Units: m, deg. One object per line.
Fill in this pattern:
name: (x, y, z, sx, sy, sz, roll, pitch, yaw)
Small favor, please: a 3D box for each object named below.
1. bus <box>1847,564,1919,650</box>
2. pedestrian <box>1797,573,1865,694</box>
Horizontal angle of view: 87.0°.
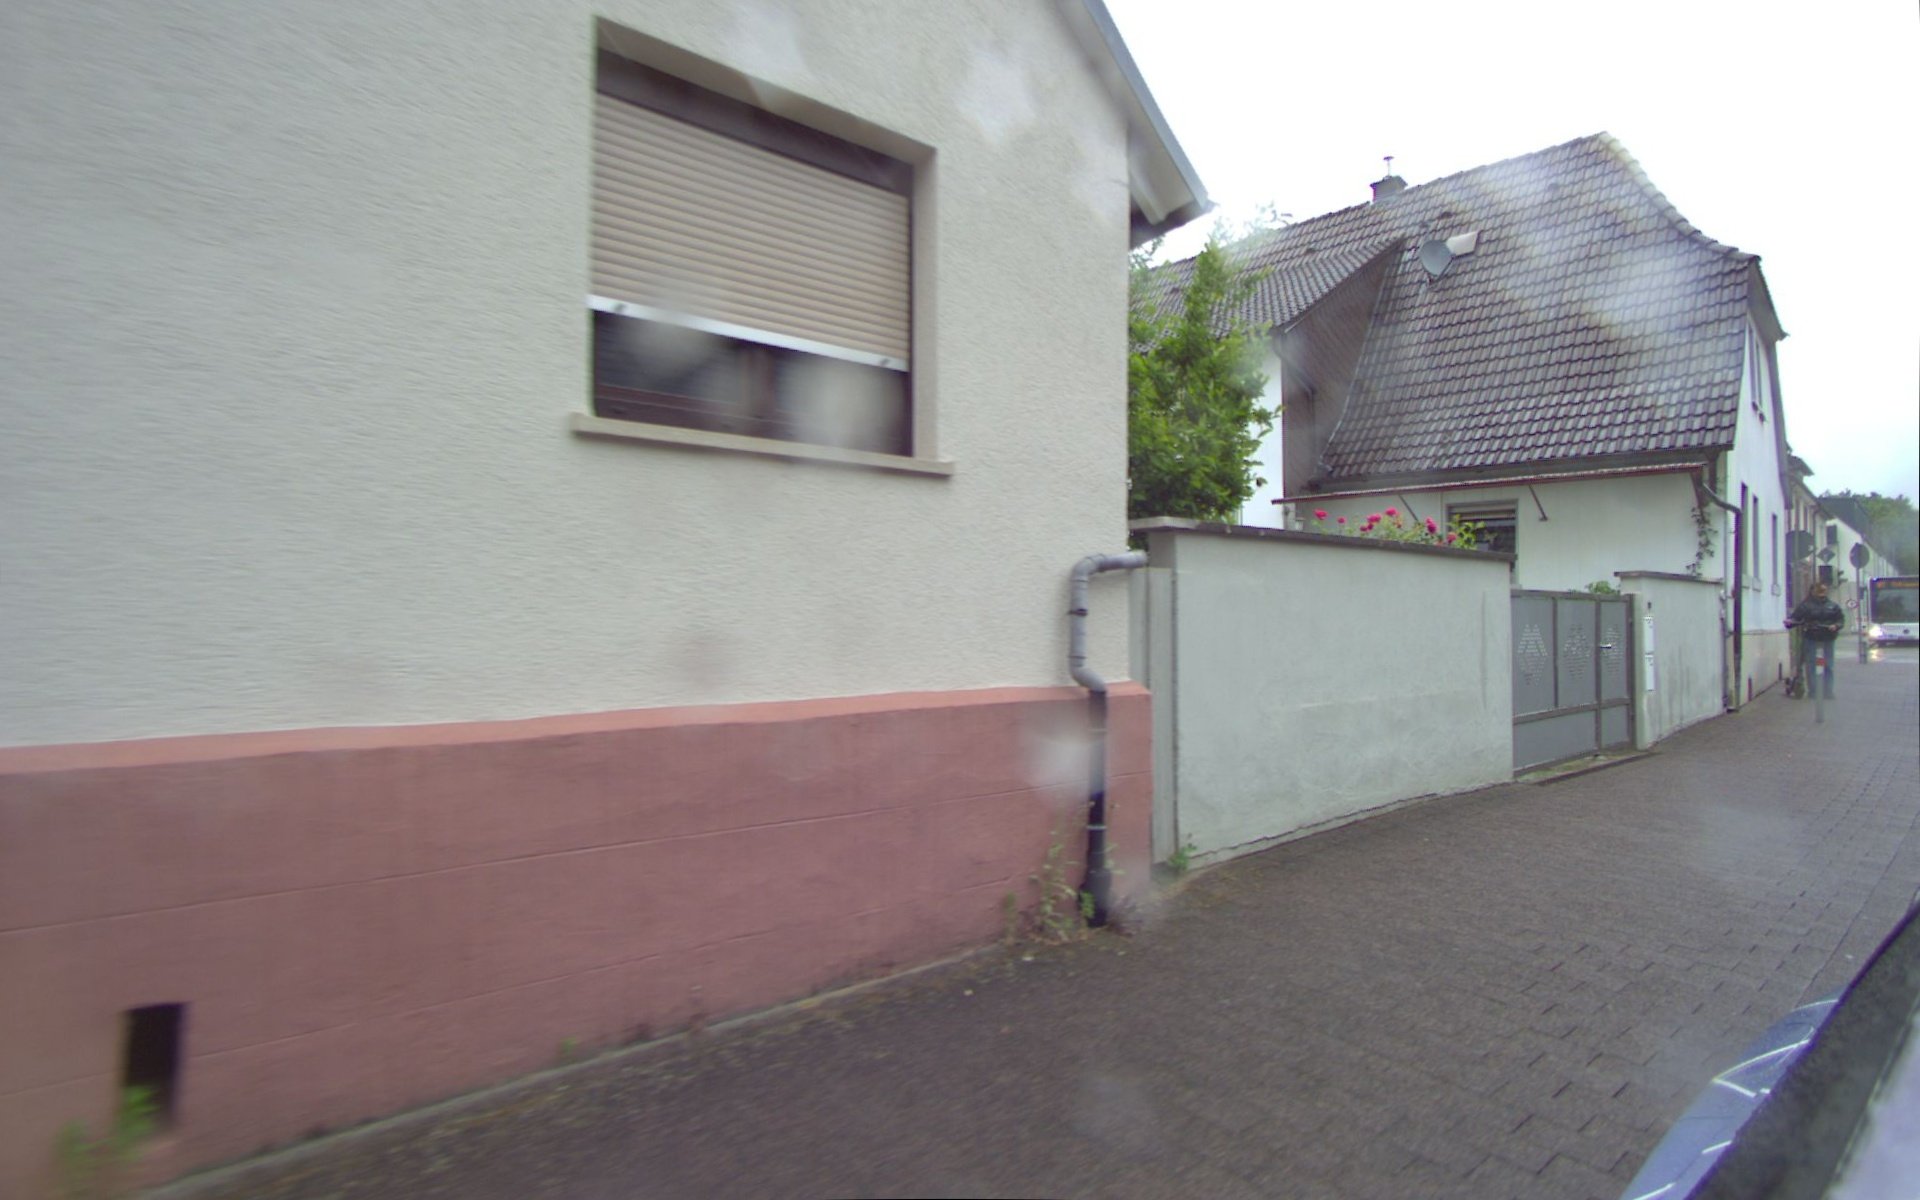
bus: (43.417, 0.276, 45.451, 13.626, 3.455, 3.438, 0, -1, -41)
pedestrian: (13.068, 0.491, 15.182, 0.694, 1.755, 0.808, -2, -1, 44)
